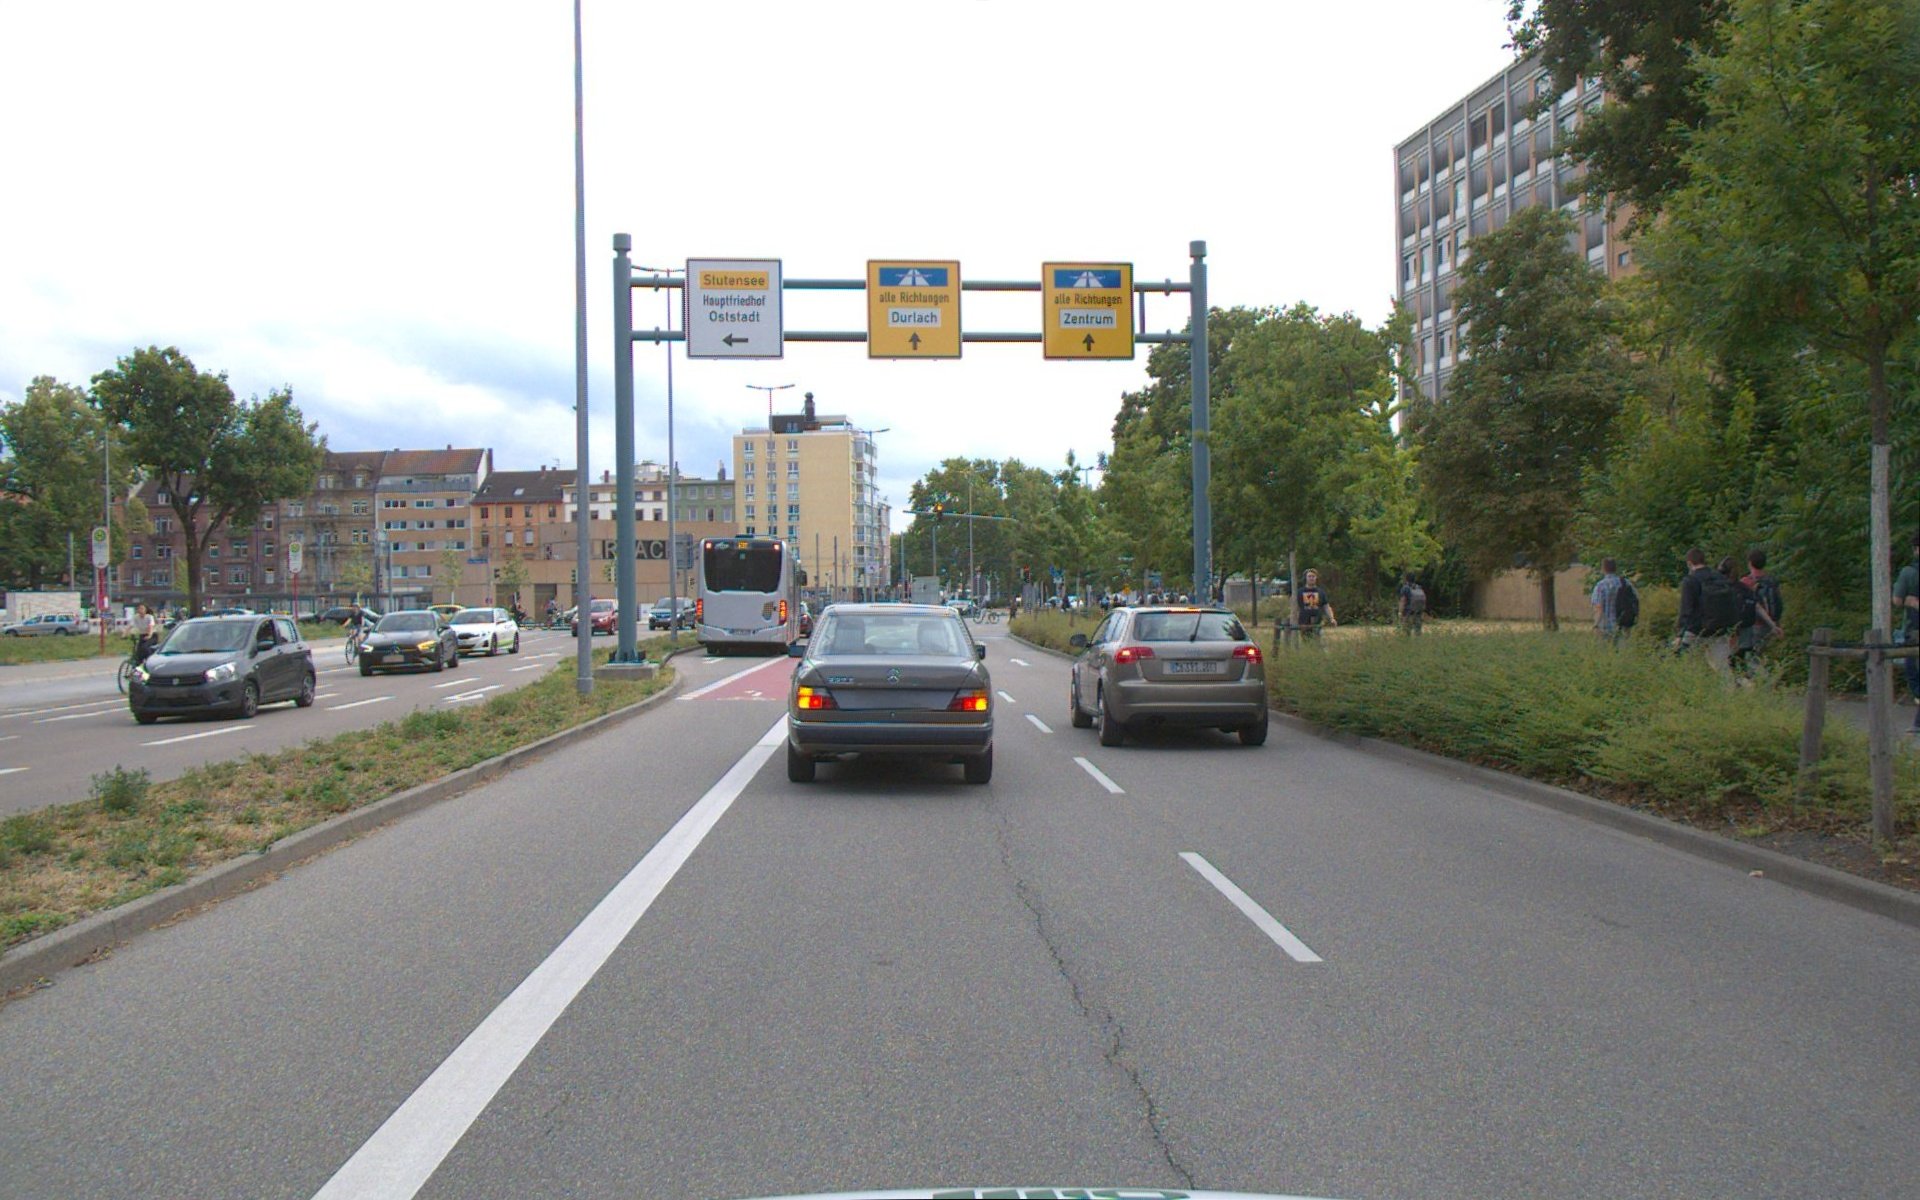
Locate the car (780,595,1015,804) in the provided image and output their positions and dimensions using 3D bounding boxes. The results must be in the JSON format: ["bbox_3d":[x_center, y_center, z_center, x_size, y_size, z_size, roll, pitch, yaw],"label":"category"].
[{"bbox_3d":[-0.639,0.729,14.385,1.727,1.515,4.166,-1,0,-5],"label":"car"}]

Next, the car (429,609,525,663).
[{"bbox_3d":[-14.668,1.062,50.425,1.765,1.515,4.414,-1,0,-2],"label":"car"}]

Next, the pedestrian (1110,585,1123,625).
[{"bbox_3d":[8.152,0.255,86.237,0.602,2.049,0.597,-1,0,-4],"label":"pedestrian"}]

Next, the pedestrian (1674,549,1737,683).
[{"bbox_3d":[9.467,0.196,21.006,0.458,1.662,0.653,-1,0,-2],"label":"pedestrian"}]

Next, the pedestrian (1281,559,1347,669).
[{"bbox_3d":[6.112,0.245,28.526,0.915,1.862,0.886,-1,0,25],"label":"pedestrian"}]

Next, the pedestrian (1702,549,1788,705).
[{"bbox_3d":[8.682,0.290,18.311,0.544,1.684,0.753,-1,0,-2],"label":"pedestrian"}]

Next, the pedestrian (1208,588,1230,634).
[{"bbox_3d":[8.530,0.371,54.475,0.643,1.496,0.562,-1,0,14],"label":"pedestrian"}]

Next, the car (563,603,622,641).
[{"bbox_3d":[-15.581,0.923,70.315,1.766,1.515,4.286,-1,0,-3],"label":"car"}]

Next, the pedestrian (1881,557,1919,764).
[{"bbox_3d":[7.924,0.470,13.098,0.760,1.630,0.812,-1,0,-2],"label":"pedestrian"}]

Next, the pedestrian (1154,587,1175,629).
[{"bbox_3d":[8.603,0.338,69.650,0.784,1.743,0.765,-1,0,10],"label":"pedestrian"}]

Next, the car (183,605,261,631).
[{"bbox_3d":[-40.996,0.995,91.948,3.696,1.419,1.580,1,0,-11],"label":"car"}]

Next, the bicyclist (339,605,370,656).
[{"bbox_3d":[-17.336,0.859,47.361,0.568,1.444,0.811,-1,0,1],"label":"bicyclist"}]

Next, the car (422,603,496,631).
[{"bbox_3d":[-28.371,0.986,93.766,3.784,1.544,1.657,0,0,-8],"label":"car"}]

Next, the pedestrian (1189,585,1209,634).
[{"bbox_3d":[8.621,0.328,59.630,0.632,1.743,0.562,-1,0,12],"label":"pedestrian"}]

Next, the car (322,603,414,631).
[{"bbox_3d":[-33.239,0.971,92.967,4.581,1.501,1.657,1,0,-8],"label":"car"}]

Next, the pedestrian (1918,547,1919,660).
[{"bbox_3d":[9.694,0.285,15.775,0.623,1.611,0.785,-1,0,-2],"label":"pedestrian"}]

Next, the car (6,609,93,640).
[{"bbox_3d":[-52.666,1.409,95.720,4.077,1.678,1.643,-1,0,-9],"label":"car"}]

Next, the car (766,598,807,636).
[{"bbox_3d":[-7.116,0.669,68.109,1.623,1.421,3.856,-1,1,-5],"label":"car"}]

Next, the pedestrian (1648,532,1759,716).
[{"bbox_3d":[7.737,0.237,17.248,0.679,1.853,0.954,-1,0,-2],"label":"pedestrian"}]

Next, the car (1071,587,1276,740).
[{"bbox_3d":[2.233,0.620,18.182,1.689,1.483,3.735,-1,0,-1],"label":"car"}]

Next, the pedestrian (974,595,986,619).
[{"bbox_3d":[1.335,0.478,111.061,0.552,1.620,0.622,0,-2,-41],"label":"pedestrian"}]

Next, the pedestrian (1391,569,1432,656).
[{"bbox_3d":[9.068,0.240,33.227,0.575,1.712,0.748,-1,0,-2],"label":"pedestrian"}]

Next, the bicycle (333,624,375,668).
[{"bbox_3d":[-17.328,1.297,47.330,0.570,1.191,1.963,-1,0,-3],"label":"bicycle"}]

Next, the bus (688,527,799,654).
[{"bbox_3d":[-6.299,-0.285,49.216,2.776,3.449,8.175,-1,0,-4],"label":"bus"}]

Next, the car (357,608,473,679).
[{"bbox_3d":[-12.827,0.975,39.176,1.767,1.515,4.399,-1,0,-7],"label":"car"}]

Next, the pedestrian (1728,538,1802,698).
[{"bbox_3d":[9.209,0.199,18.933,0.474,1.794,0.663,-1,0,-2],"label":"pedestrian"}]

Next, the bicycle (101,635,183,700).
[{"bbox_3d":[-16.904,1.370,34.223,0.605,1.238,2.045,-1,0,2],"label":"bicycle"}]

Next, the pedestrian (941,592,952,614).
[{"bbox_3d":[-1.261,0.256,156.297,0.955,2.049,0.979,-1,0,-1],"label":"pedestrian"}]

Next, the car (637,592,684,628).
[{"bbox_3d":[-15.298,0.472,84.706,1.766,1.694,4.298,-3,0,-3],"label":"car"}]

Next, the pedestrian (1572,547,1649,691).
[{"bbox_3d":[8.200,0.233,20.868,0.606,1.766,0.814,-1,0,-2],"label":"pedestrian"}]

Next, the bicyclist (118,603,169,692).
[{"bbox_3d":[-16.908,0.967,34.267,0.605,1.813,0.811,-1,0,2],"label":"bicyclist"}]

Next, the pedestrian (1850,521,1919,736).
[{"bbox_3d":[8.453,0.238,14.658,0.643,1.853,0.812,-1,0,-2],"label":"pedestrian"}]

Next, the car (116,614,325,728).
[{"bbox_3d":[-10.968,0.999,24.795,1.540,1.515,3.635,-1,0,-1],"label":"car"}]
